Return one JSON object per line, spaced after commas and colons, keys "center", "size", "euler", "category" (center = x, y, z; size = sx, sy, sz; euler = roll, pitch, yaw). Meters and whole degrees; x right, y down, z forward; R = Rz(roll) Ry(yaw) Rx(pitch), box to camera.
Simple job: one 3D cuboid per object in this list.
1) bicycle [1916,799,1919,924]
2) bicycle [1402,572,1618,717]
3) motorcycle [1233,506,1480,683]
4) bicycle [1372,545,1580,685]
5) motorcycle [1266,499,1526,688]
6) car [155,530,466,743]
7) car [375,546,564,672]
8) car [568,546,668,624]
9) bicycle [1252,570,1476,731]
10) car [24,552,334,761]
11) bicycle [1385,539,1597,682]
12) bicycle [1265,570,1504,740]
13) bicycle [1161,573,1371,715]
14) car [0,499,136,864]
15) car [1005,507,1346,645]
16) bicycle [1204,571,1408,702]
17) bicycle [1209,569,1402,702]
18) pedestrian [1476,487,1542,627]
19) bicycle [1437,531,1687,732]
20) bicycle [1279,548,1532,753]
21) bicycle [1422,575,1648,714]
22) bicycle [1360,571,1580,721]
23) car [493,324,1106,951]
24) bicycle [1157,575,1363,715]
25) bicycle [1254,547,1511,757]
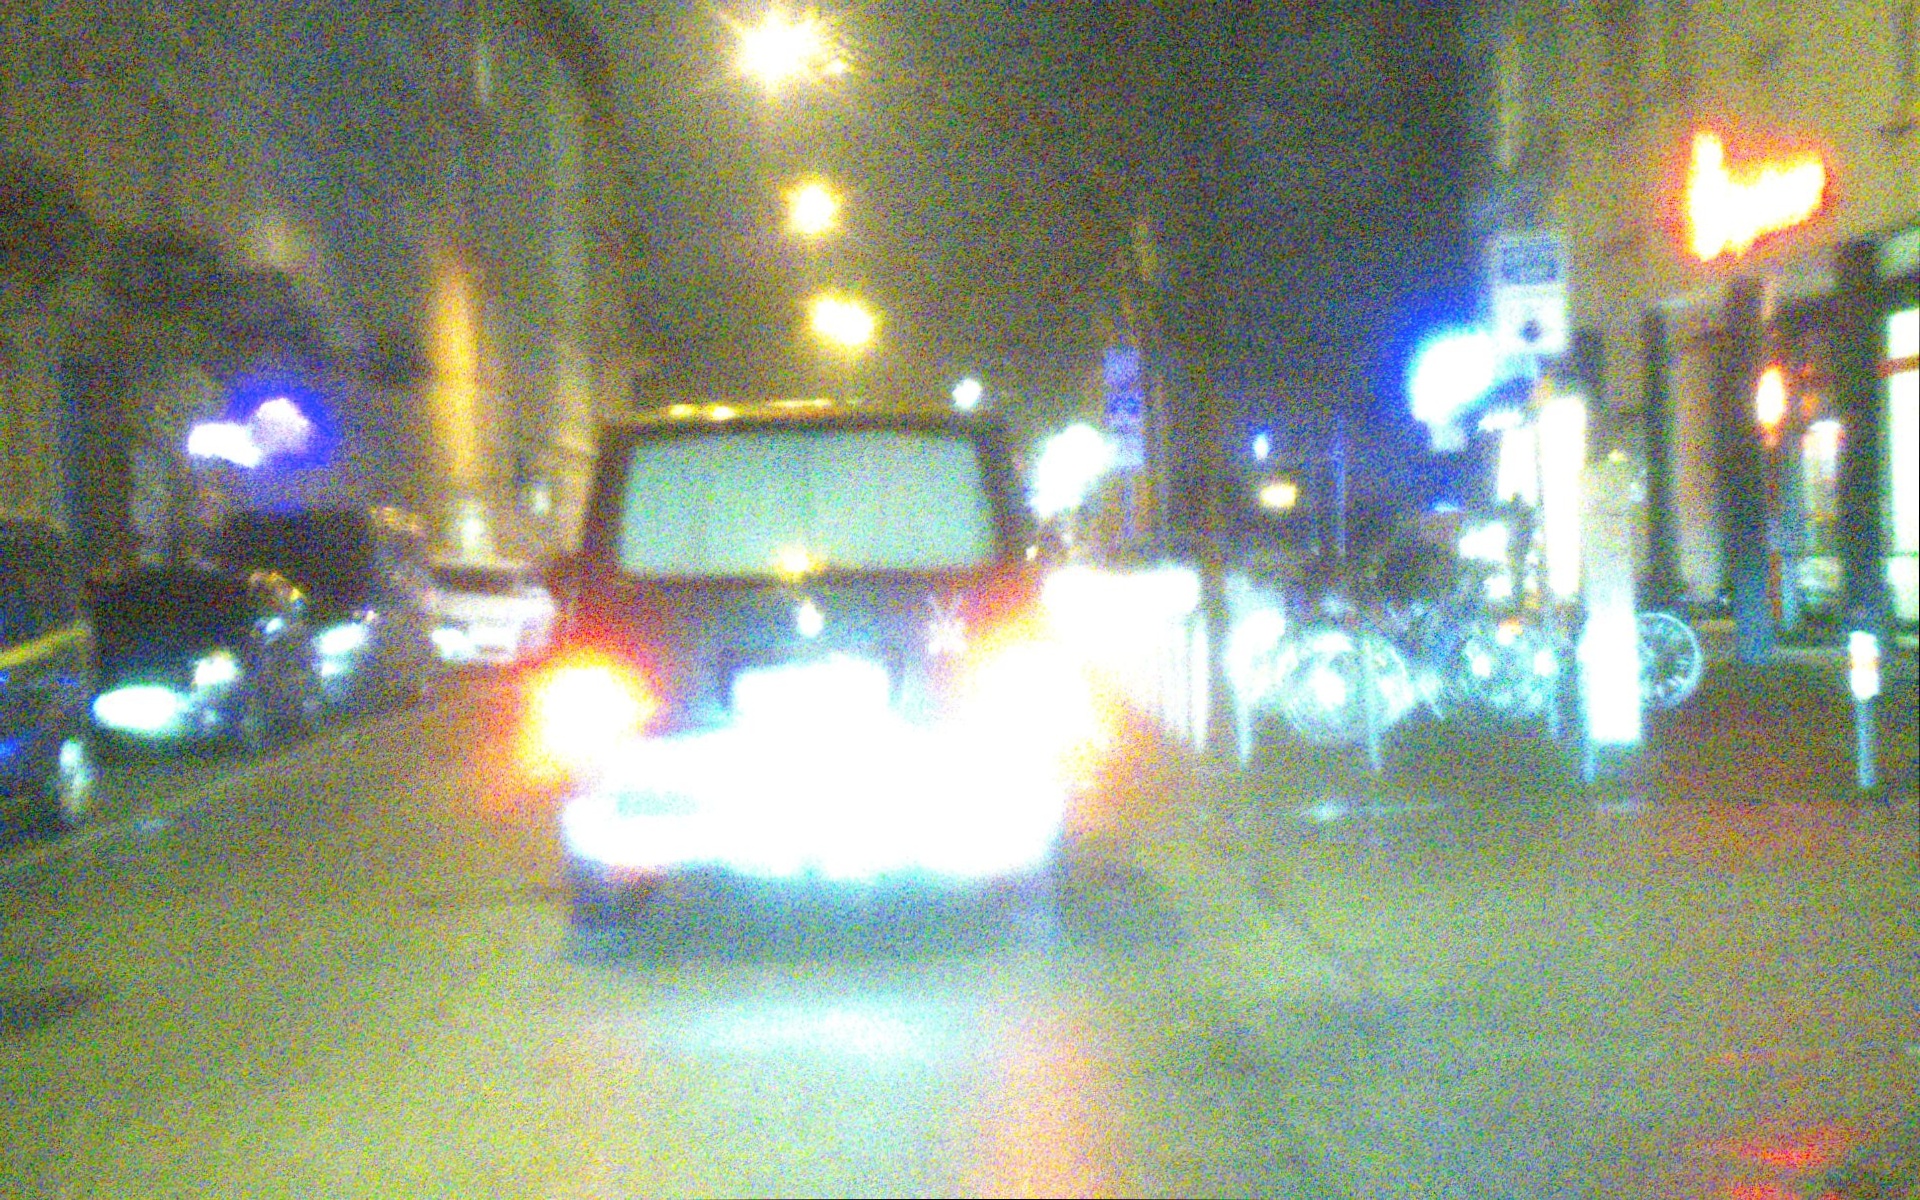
{"center": [2.989, 0.787, 6.315], "size": [2.270, 0.891, 0.617], "euler": [-2, 1, 29], "category": "bicycle"}
{"center": [4.321, 0.345, 27.029], "size": [1.528, 0.949, 0.366], "euler": [-7, 0, -5], "category": "bicycle"}
{"center": [4.068, -0.060, 35.393], "size": [2.288, 1.582, 0.867], "euler": [-5, 1, -1], "category": "motorcycle"}
{"center": [4.202, 0.118, 28.038], "size": [1.528, 0.949, 0.366], "euler": [-7, 0, -5], "category": "bicycle"}
{"center": [4.066, -0.066, 32.180], "size": [2.172, 1.542, 0.867], "euler": [-5, 1, -1], "category": "motorcycle"}
{"center": [-6.074, 0.268, 32.794], "size": [1.996, 1.823, 5.207], "euler": [-1, 1, -1], "category": "car"}
{"center": [-6.330, 0.071, 44.820], "size": [1.767, 1.478, 4.772], "euler": [2, 1, 0], "category": "car"}
{"center": [-6.719, -0.313, 67.800], "size": [1.672, 1.486, 3.722], "euler": [0, 1, -1], "category": "car"}
{"center": [3.017, 0.375, 25.746], "size": [1.529, 1.020, 0.366], "euler": [-7, 0, 3], "category": "bicycle"}
{"center": [-5.996, 0.383, 26.776], "size": [1.569, 1.455, 3.720], "euler": [-1, 1, -1], "category": "car"}
{"center": [4.239, 0.084, 27.458], "size": [1.528, 0.949, 0.366], "euler": [-7, 0, -6], "category": "bicycle"}
{"center": [3.013, 0.388, 24.440], "size": [1.528, 1.020, 0.366], "euler": [-7, 0, -2], "category": "bicycle"}
{"center": [2.453, 0.349, 27.601], "size": [1.528, 0.949, 0.366], "euler": [-7, 0, -5], "category": "bicycle"}
{"center": [-5.758, 0.415, 17.644], "size": [1.902, 1.823, 4.829], "euler": [-1, 1, -1], "category": "car"}
{"center": [2.968, -0.348, 48.081], "size": [4.512, 1.525, 1.780], "euler": [-5, 1, -1], "category": "car"}
{"center": [3.032, 0.318, 30.150], "size": [1.670, 0.949, 0.366], "euler": [-7, 0, 7], "category": "bicycle"}
{"center": [2.953, 0.302, 29.382], "size": [1.529, 0.949, 0.366], "euler": [-7, 0, 7], "category": "bicycle"}
{"center": [7.201, -0.565, 45.100], "size": [0.703, 1.782, 0.624], "euler": [-3, 2, 2], "category": "pedestrian"}
{"center": [4.161, 0.214, 23.804], "size": [1.528, 1.198, 0.366], "euler": [-7, 0, -2], "category": "bicycle"}
{"center": [3.016, 0.340, 23.307], "size": [1.528, 1.198, 0.366], "euler": [-7, 0, -2], "category": "bicycle"}
{"center": [4.227, 0.322, 25.310], "size": [1.529, 0.831, 0.325], "euler": [-7, 0, 3], "category": "bicycle"}
{"center": [3.880, 0.347, 26.205], "size": [1.529, 0.949, 0.366], "euler": [-7, 0, 3], "category": "bicycle"}
{"center": [-0.558, 0.075, 13.793], "size": [1.996, 2.042, 4.694], "euler": [-1, 1, -1], "category": "car"}
{"center": [2.439, 0.365, 28.022], "size": [1.528, 0.949, 0.366], "euler": [-7, 0, -5], "category": "bicycle"}
{"center": [2.801, 0.342, 22.853], "size": [1.529, 1.198, 0.366], "euler": [-7, 0, 2], "category": "bicycle"}
